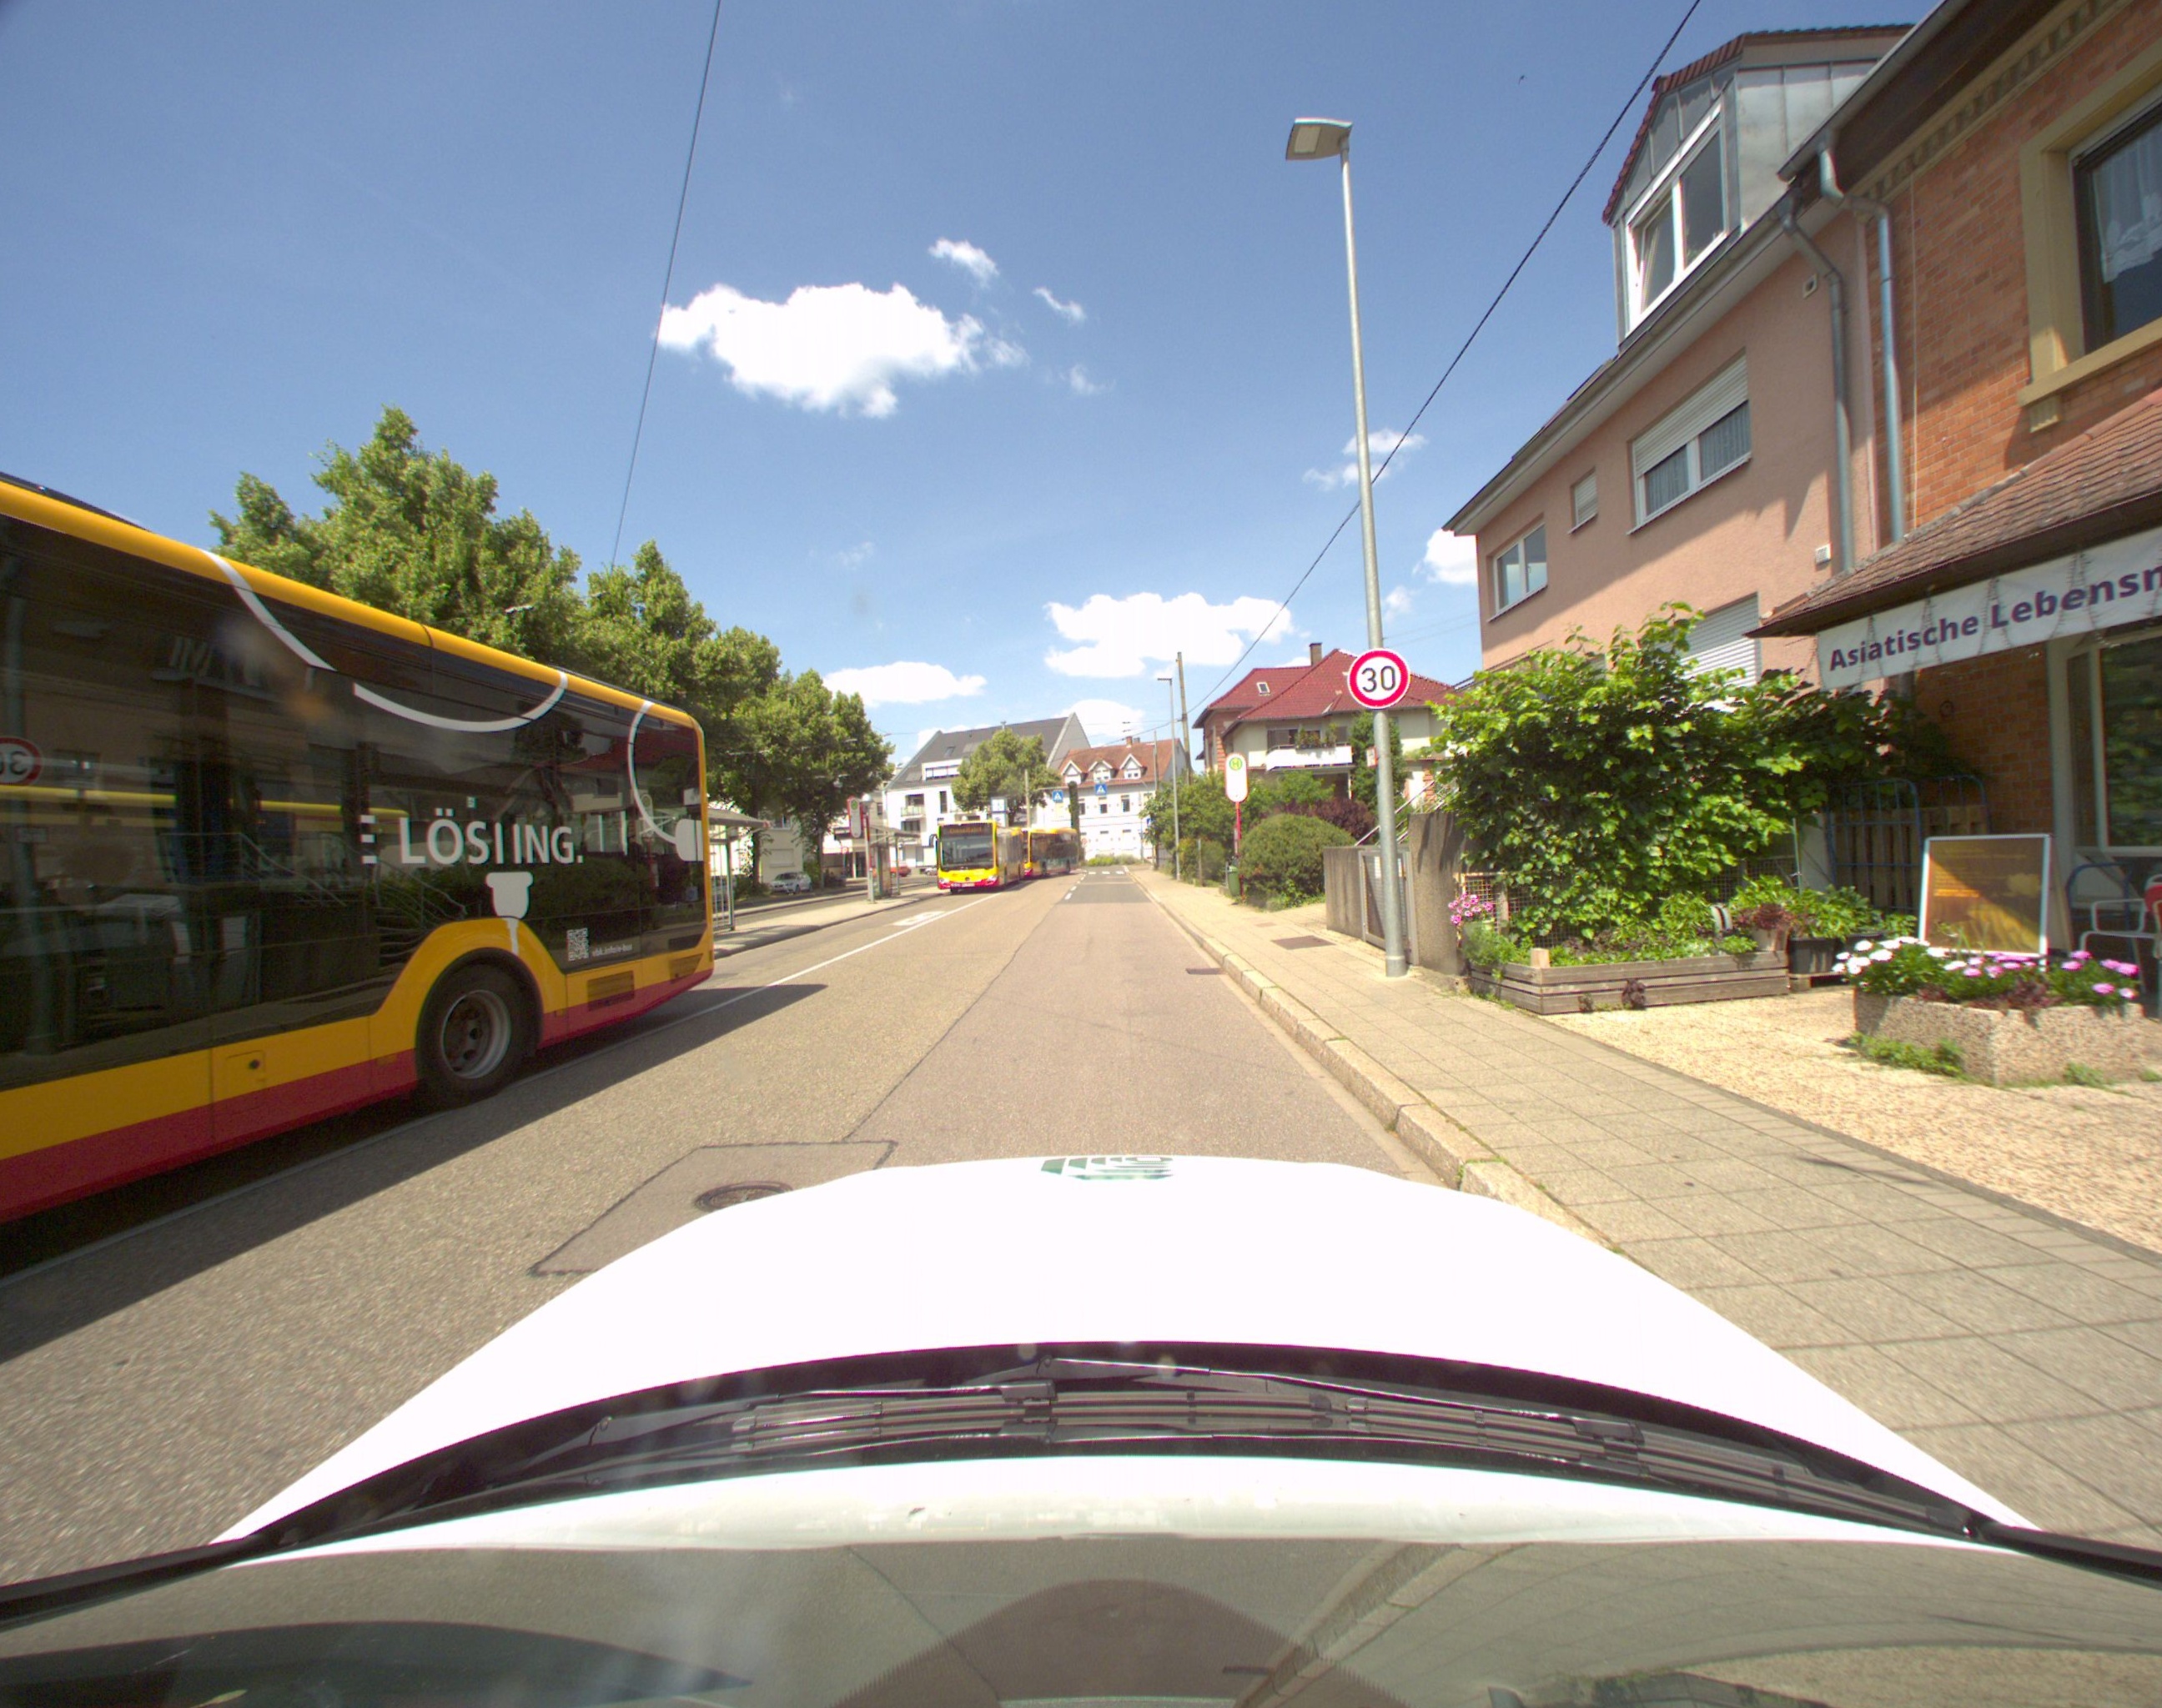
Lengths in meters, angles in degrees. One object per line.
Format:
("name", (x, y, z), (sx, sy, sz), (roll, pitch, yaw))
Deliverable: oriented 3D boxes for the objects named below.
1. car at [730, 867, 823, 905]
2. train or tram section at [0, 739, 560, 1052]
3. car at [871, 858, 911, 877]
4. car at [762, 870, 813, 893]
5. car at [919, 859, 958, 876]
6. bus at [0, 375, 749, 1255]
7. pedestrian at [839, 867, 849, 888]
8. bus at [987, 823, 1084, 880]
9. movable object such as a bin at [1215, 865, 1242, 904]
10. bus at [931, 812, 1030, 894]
("car", (-11.764, 1.216, 31.636), (3.287, 1.373, 1.459), (0, -2, -19))
("train or tram section", (-13.942, 0.526, 12.155), (2.952, 3.643, 13.998), (-1, -1, 2))
("car", (-21.070, 1.483, 90.206), (3.948, 2.014, 2.012), (-2, -2, 30))
("car", (-17.542, 1.650, 48.873), (1.710, 1.319, 3.997), (-1, -2, -2))
("car", (-16.116, 1.512, 91.879), (3.950, 1.777, 1.868), (-2, -2, 26))
("bus", (-5.429, -0.129, 3.101), (2.886, 3.248, 12.201), (-1, -1, 2))
("pedestrian", (-22.370, 2.233, 76.823), (0.688, 2.014, 0.612), (0, -2, -33))
("bus", (-2.602, -0.249, 52.535), (2.760, 3.208, 12.352), (-1, 1, 13))
("movable object such as a bin", (3.566, 0.732, 19.693), (0.405, 0.907, 0.729), (-6, -1, -2))
("bus", (-4.464, 0.015, 39.055), (2.897, 3.248, 12.121), (-1, -1, 1))
